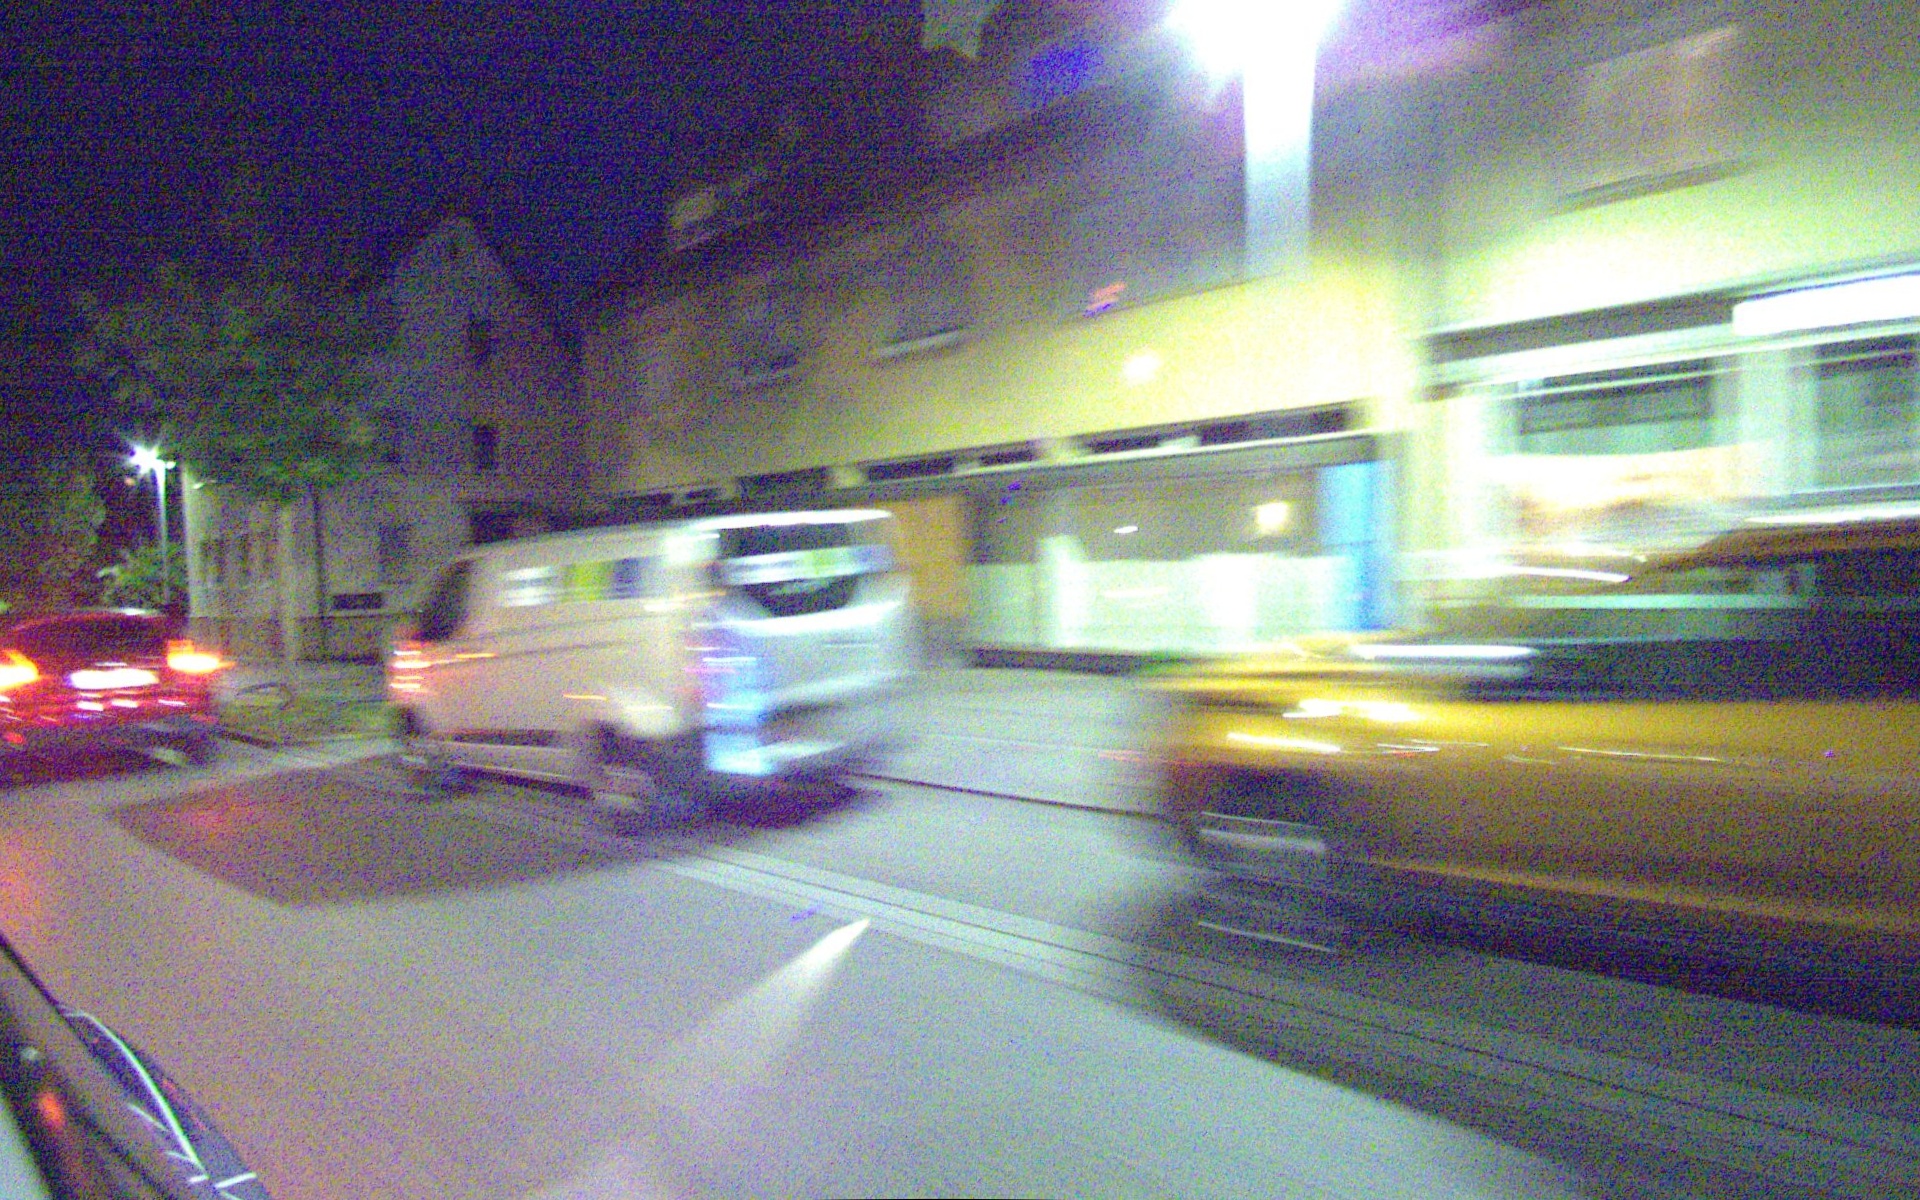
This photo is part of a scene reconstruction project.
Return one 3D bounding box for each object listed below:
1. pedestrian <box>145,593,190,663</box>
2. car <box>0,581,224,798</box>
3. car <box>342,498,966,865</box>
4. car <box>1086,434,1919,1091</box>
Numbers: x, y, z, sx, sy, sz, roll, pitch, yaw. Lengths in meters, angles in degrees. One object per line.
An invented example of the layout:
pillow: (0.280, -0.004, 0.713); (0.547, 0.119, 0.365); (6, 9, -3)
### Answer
pedestrian: (-22.682, 0.797, 28.975); (0.829, 1.917, 0.738); (-1, 3, 40)
car: (-8.842, 0.748, 9.902); (3.957, 1.728, 1.702); (-1, 0, 40)
car: (-2.547, 0.432, 7.733); (4.882, 1.961, 2.096); (-2, 2, 39)
car: (2.812, 0.374, 3.619); (4.164, 1.683, 2.096); (-2, 2, 39)
